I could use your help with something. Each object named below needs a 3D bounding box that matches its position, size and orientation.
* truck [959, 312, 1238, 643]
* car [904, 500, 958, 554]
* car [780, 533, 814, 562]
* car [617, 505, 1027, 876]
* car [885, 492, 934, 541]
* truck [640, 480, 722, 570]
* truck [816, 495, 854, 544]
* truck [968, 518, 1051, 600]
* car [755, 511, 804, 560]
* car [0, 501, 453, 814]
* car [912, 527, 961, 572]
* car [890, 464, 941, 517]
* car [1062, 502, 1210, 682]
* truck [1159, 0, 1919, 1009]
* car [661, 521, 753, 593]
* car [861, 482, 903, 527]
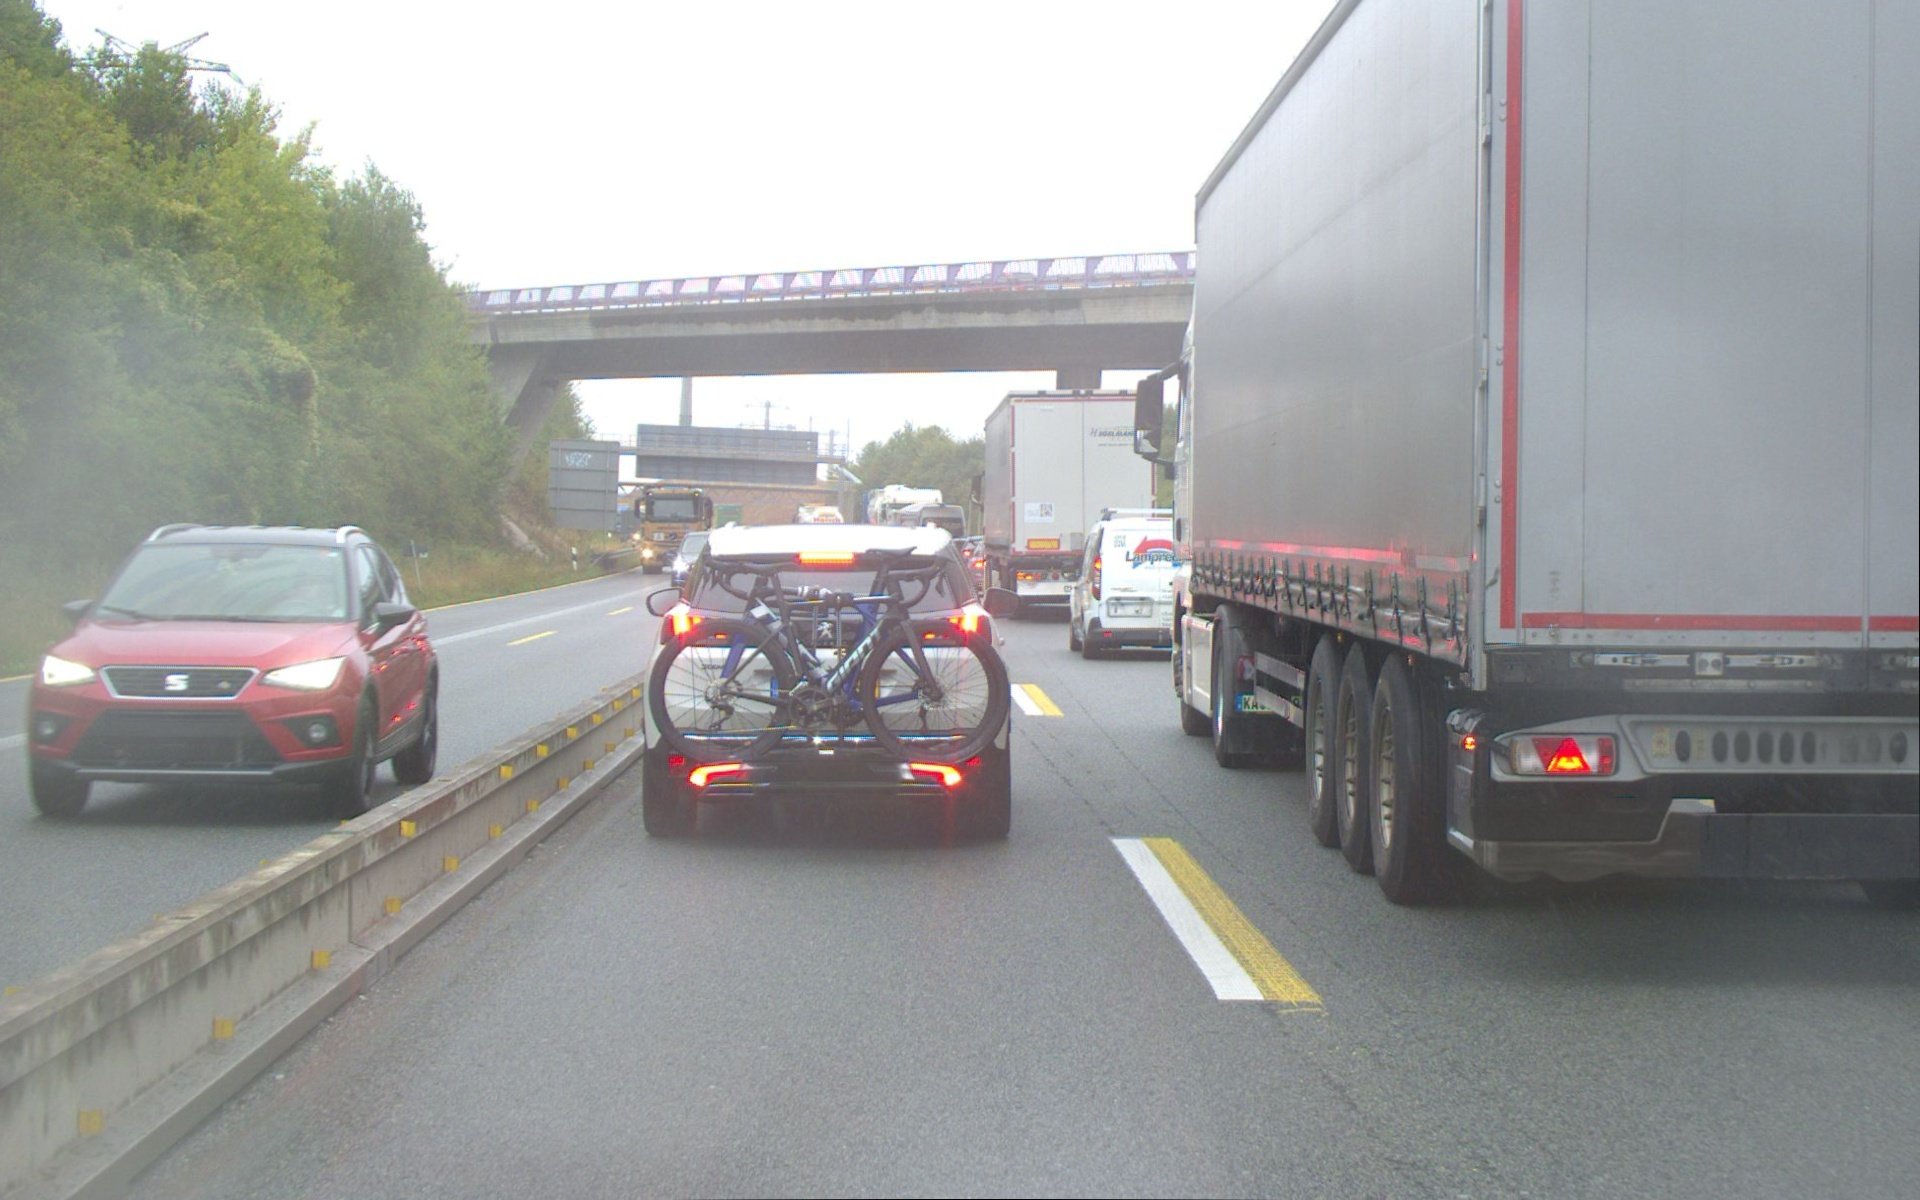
[{"bbox_3d":[2.484,-2.243,69.522,4.743,5.654,20.376,1,1,1],"label":"truck"},{"bbox_3d":[-1.110,-2.755,131.093,1.993,2.007,4.000,1,1,0],"label":"car"},{"bbox_3d":[-8.135,-2.610,171.835,1.686,1.404,3.931,1,1,-2],"label":"car"},{"bbox_3d":[-0.592,0.373,17.629,1.810,1.632,4.635,1,1,1],"label":"car"},{"bbox_3d":[-2.086,-3.479,143.913,1.993,2.007,4.000,1,1,0],"label":"car"},{"bbox_3d":[-10.935,-2.909,135.730,2.535,3.341,12.051,1,1,-1],"label":"truck"},{"bbox_3d":[-8.887,-5.696,244.861,2.535,3.341,12.051,1,1,-1],"label":"truck"},{"bbox_3d":[1.230,-1.047,87.588,1.993,2.007,4.000,1,1,-1],"label":"truck"},{"bbox_3d":[-6.876,-2.438,131.356,1.810,1.817,4.636,1,1,-2],"label":"car"},{"bbox_3d":[-4.014,0.261,19.222,1.794,1.550,4.000,1,1,-1],"label":"car"},{"bbox_3d":[-0.801,-1.713,117.279,1.638,1.492,3.666,1,1,0],"label":"car"},{"bbox_3d":[-2.018,-4.971,156.747,2.239,2.299,4.572,1,1,0],"label":"car"},{"bbox_3d":[2.204,-0.126,43.996,1.670,2.173,4.535,1,1,1],"label":"car"},{"bbox_3d":[3.709,-1.692,20.724,3.979,5.654,20.376,1,1,1],"label":"truck"},{"bbox_3d":[-5.902,-1.007,80.587,1.810,1.627,4.118,1,1,1],"label":"car"},{"bbox_3d":[-3.818,-4.688,169.795,1.993,2.119,4.527,1,1,0],"label":"car"}]
